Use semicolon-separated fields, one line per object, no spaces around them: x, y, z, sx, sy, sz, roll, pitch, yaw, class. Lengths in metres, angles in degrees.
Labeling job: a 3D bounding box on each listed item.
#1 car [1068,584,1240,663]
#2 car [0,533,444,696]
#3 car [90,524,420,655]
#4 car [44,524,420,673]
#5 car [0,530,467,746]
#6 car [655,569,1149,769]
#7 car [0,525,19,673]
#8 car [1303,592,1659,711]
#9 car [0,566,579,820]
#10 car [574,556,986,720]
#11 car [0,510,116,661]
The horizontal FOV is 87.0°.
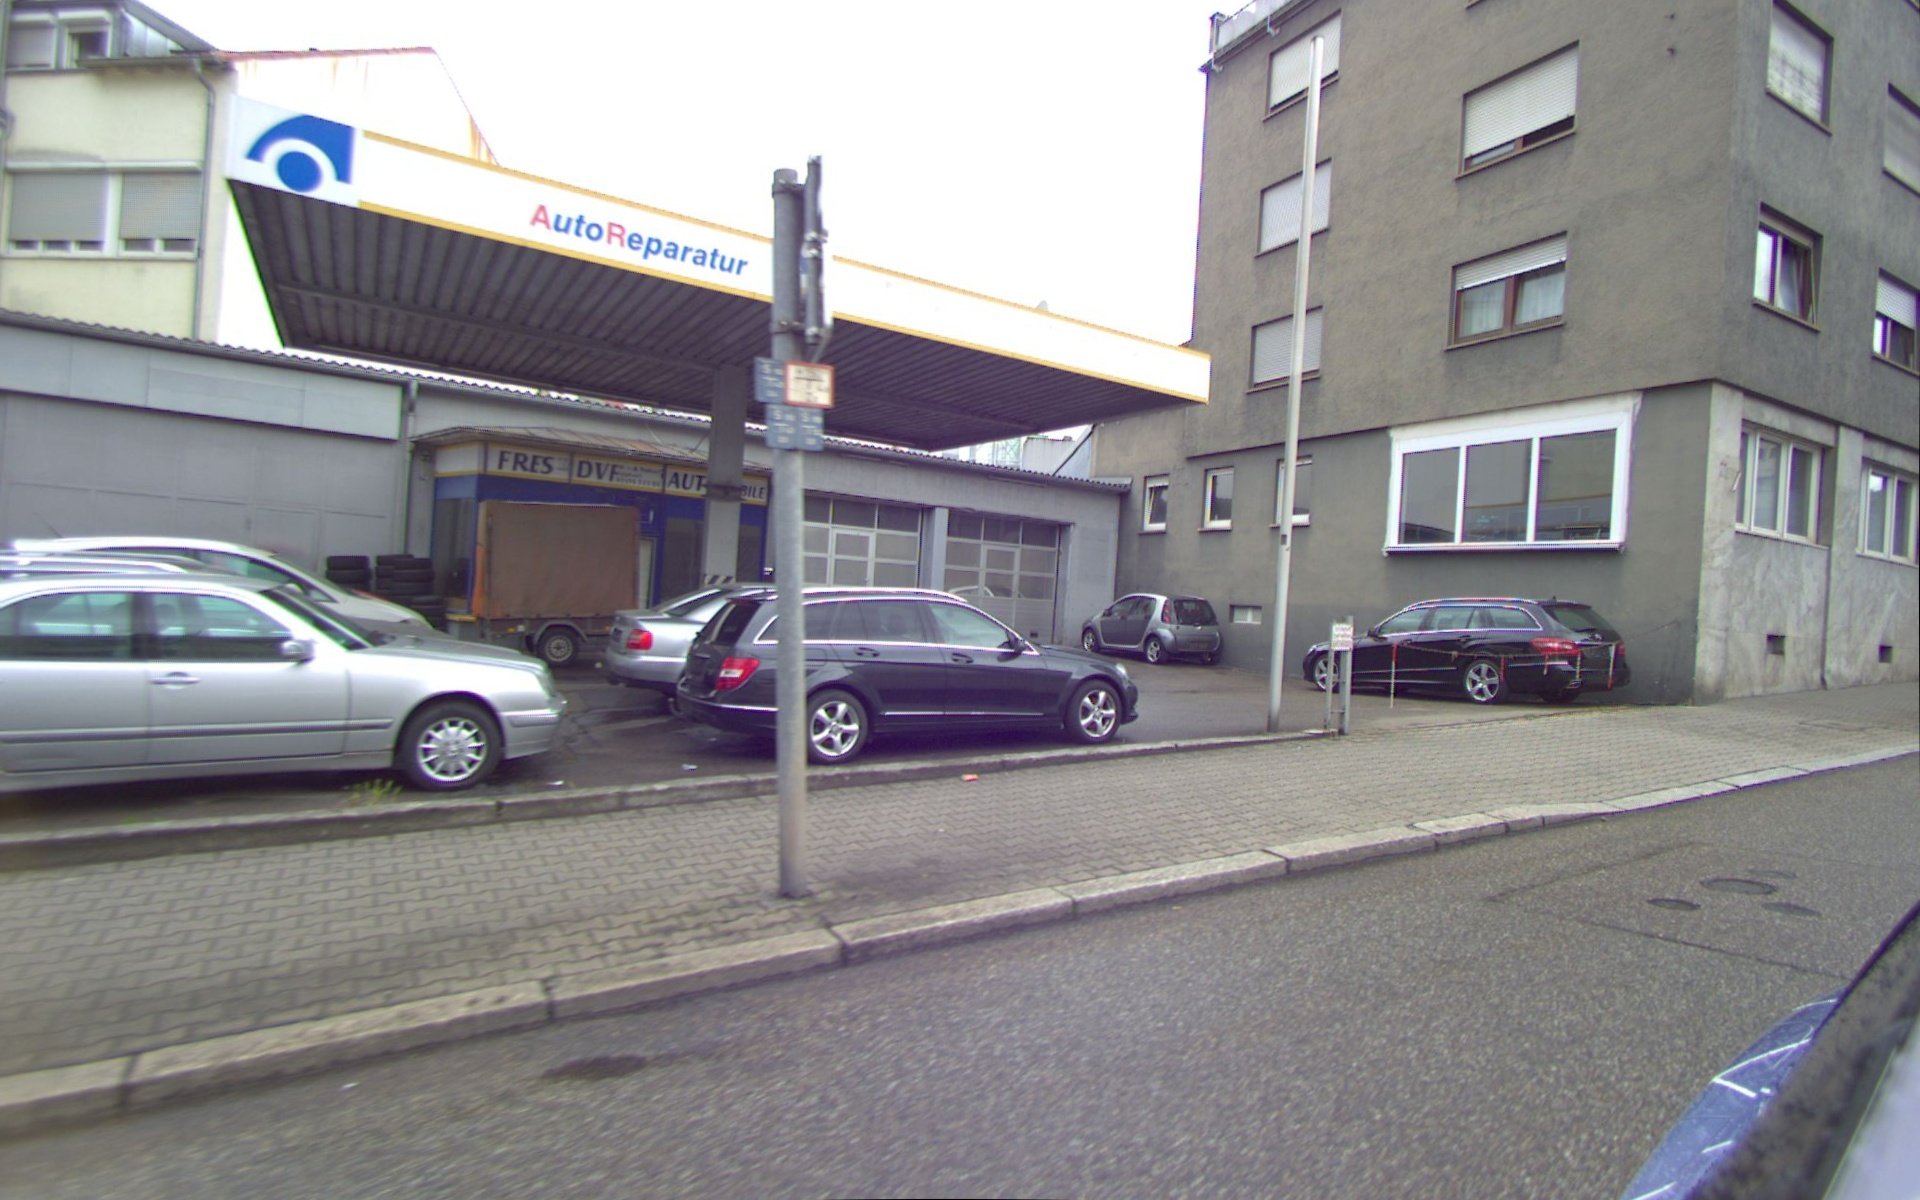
4.238;0.480;22.650;1.757;1.472;3.762;3;2;-28;car
-8.438;0.119;11.685;4.330;1.620;1.796;0;1;-30;car
-10.352;-0.161;15.230;3.870;1.752;1.796;0;1;-30;car
-9.463;-0.041;13.575;3.870;1.752;1.796;0;1;-30;car
-6.912;0.285;8.999;4.401;1.563;1.798;2;4;-30;car
-0.478;0.512;9.646;4.348;1.530;1.796;0;2;-30;car
-12.932;-0.008;10.833;3.870;1.752;1.796;0;1;-30;car
7.643;0.660;15.383;1.959;1.523;4.543;0;0;-26;car
-5.190;0.521;7.080;4.521;1.433;1.797;0;2;-28;car
-2.058;0.410;11.869;4.330;1.529;1.798;2;4;-30;car
-13.711;-0.214;13.094;4.023;1.934;1.796;0;1;-30;car
